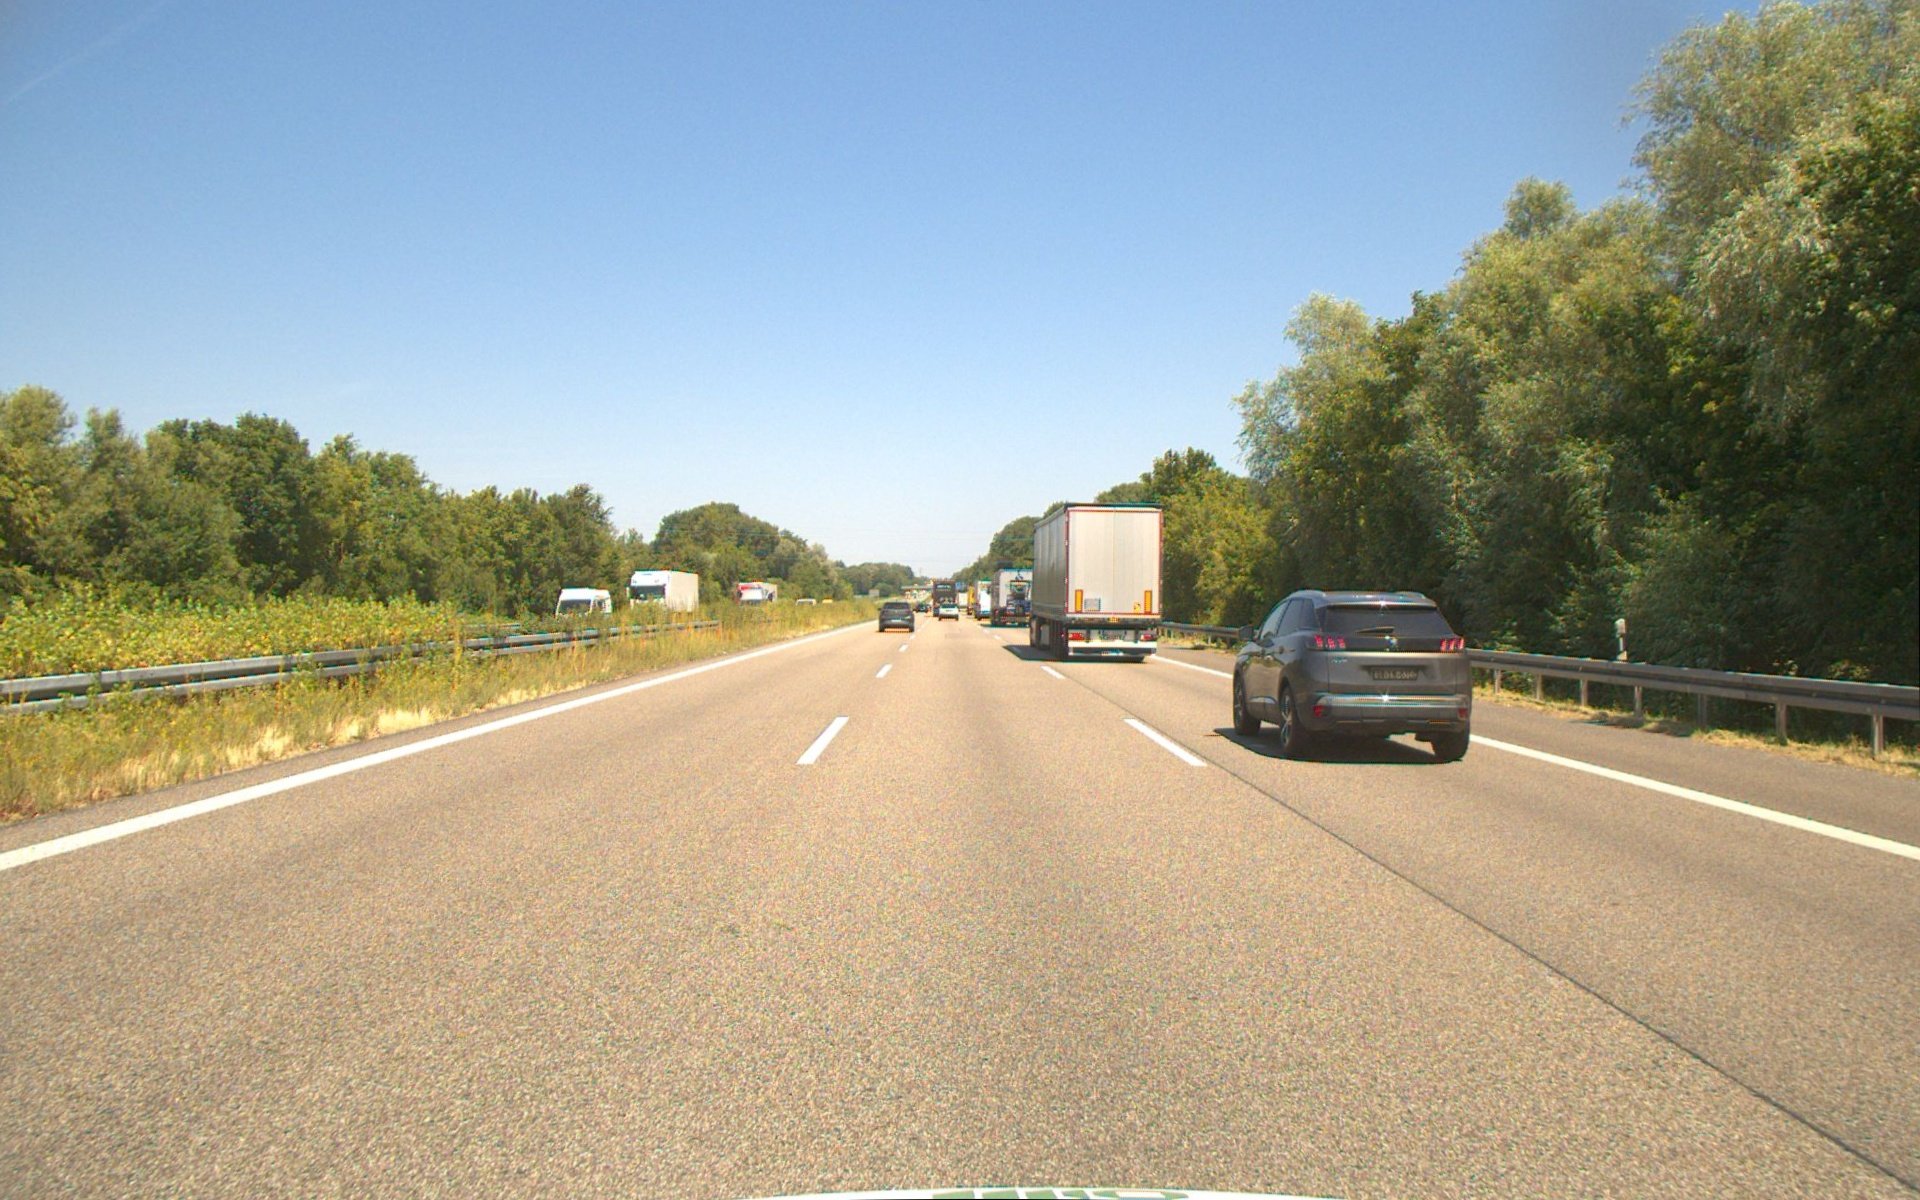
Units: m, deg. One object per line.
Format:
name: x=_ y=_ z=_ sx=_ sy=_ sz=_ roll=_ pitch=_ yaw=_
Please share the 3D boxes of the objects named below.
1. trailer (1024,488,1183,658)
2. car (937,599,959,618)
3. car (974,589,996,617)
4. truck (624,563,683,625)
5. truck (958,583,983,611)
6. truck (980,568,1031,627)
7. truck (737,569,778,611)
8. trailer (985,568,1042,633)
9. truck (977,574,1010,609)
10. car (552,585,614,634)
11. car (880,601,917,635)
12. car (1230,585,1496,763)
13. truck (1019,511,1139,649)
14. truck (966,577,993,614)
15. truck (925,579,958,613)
trailer: x=3.920 y=-0.677 z=48.882 sx=3.364 sy=4.254 sz=13.631 roll=1 pitch=0 yaw=0
car: x=-1.038 y=0.748 z=145.054 sx=1.862 sy=1.557 sz=4.084 roll=1 pitch=1 yaw=-1
car: x=2.291 y=0.236 z=150.906 sx=1.869 sy=2.467 sz=4.285 roll=1 pitch=1 yaw=-1
truck: x=-21.736 y=-0.475 z=117.573 sx=3.009 sy=4.183 sz=6.524 roll=1 pitch=1 yaw=-1
truck: x=1.469 y=-0.421 z=233.251 sx=3.417 sy=3.790 sz=7.109 roll=1 pitch=1 yaw=1
truck: x=3.171 y=-0.237 z=118.265 sx=2.996 sy=3.946 sz=10.031 roll=1 pitch=1 yaw=-2
truck: x=-22.026 y=-1.085 z=180.333 sx=3.008 sy=4.385 sz=10.627 roll=1 pitch=1 yaw=0
trailer: x=3.412 y=-0.044 z=108.234 sx=3.059 sy=3.995 sz=9.934 roll=1 pitch=1 yaw=-1
truck: x=3.820 y=-0.975 z=188.492 sx=3.592 sy=3.790 sz=7.109 roll=1 pitch=1 yaw=1
car: x=-20.393 y=0.493 z=89.675 sx=2.060 sy=2.506 sz=6.014 roll=-1 pitch=0 yaw=-1
car: x=-3.106 y=0.877 z=83.788 sx=1.723 sy=1.557 sz=4.285 roll=1 pitch=1 yaw=-1
car: x=4.108 y=0.673 z=17.541 sx=1.807 sy=1.657 sz=4.134 roll=0 pitch=0 yaw=0
truck: x=3.856 y=-0.590 z=55.419 sx=3.393 sy=4.250 sz=6.843 roll=1 pitch=-1 yaw=-1
truck: x=2.105 y=-0.477 z=174.978 sx=2.735 sy=3.790 sz=7.109 roll=1 pitch=1 yaw=1
truck: x=-2.058 y=-0.508 z=188.334 sx=3.592 sy=3.790 sz=7.109 roll=1 pitch=1 yaw=1
